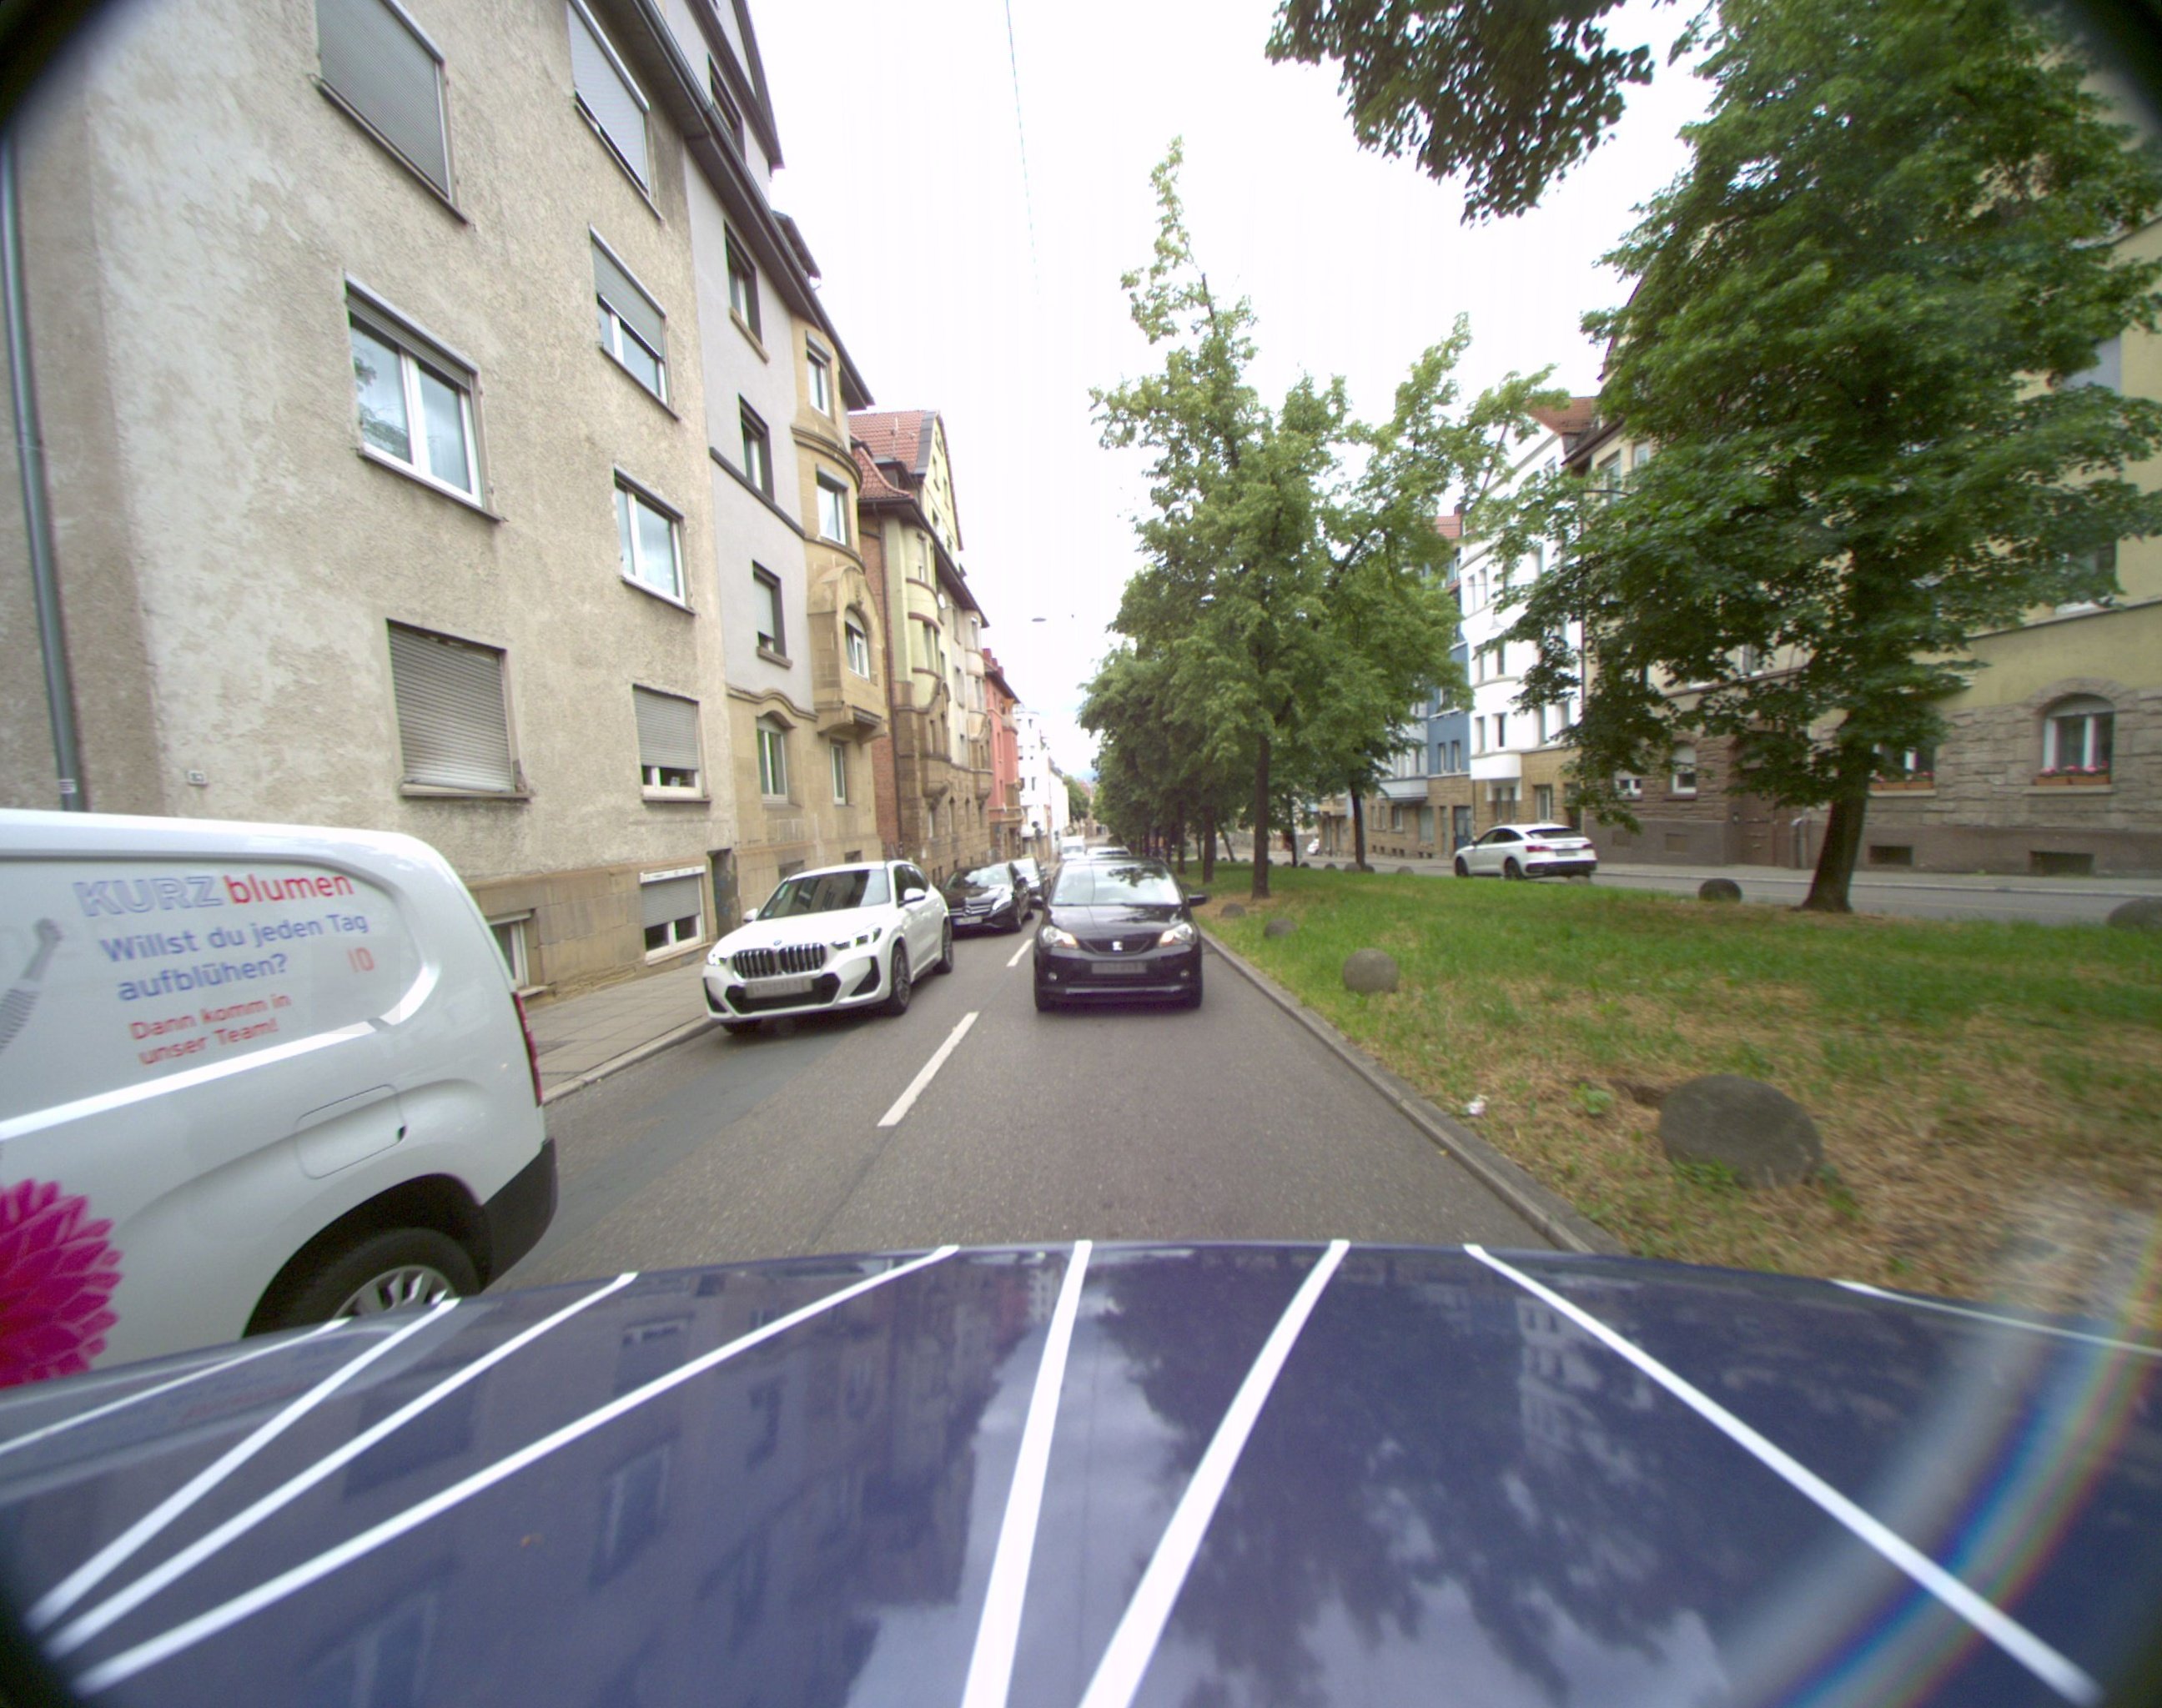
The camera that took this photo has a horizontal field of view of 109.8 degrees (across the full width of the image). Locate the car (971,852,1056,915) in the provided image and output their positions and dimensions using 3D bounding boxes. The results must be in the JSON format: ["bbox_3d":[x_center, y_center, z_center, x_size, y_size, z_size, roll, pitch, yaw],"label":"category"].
[{"bbox_3d":[-1.968,0.823,23.415,1.936,1.506,4.303,-6,1,2],"label":"car"}]

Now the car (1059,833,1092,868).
[{"bbox_3d":[-0.396,-0.352,69.373,2.716,2.879,6.452,-3,1,1],"label":"car"}]

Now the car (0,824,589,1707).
[{"bbox_3d":[-2.843,0.938,0.402,1.980,1.765,4.675,-6,1,-1],"label":"car"}]

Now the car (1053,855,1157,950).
[{"bbox_3d":[0.421,0.813,14.422,1.664,1.456,3.580,-3,1,1],"label":"car"}]

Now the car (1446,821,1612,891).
[{"bbox_3d":[12.062,0.064,20.870,1.899,1.618,4.491,-3,0,1],"label":"car"}]

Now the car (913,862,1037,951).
[{"bbox_3d":[-2.092,1.001,16.292,1.884,1.369,4.205,-6,1,1],"label":"car"}]

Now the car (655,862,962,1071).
[{"bbox_3d":[-2.759,1.028,8.937,1.859,1.547,4.350,-7,1,0],"label":"car"}]

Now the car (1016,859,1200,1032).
[{"bbox_3d":[0.260,0.824,8.386,1.611,1.457,3.296,-1,1,1],"label":"car"}]

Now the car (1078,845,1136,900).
[{"bbox_3d":[0.768,0.522,23.740,1.607,1.492,3.737,-3,1,1],"label":"car"}]

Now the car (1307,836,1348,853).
[{"bbox_3d":[22.191,-0.865,68.415,3.291,1.323,1.672,-2,1,10],"label":"car"}]
